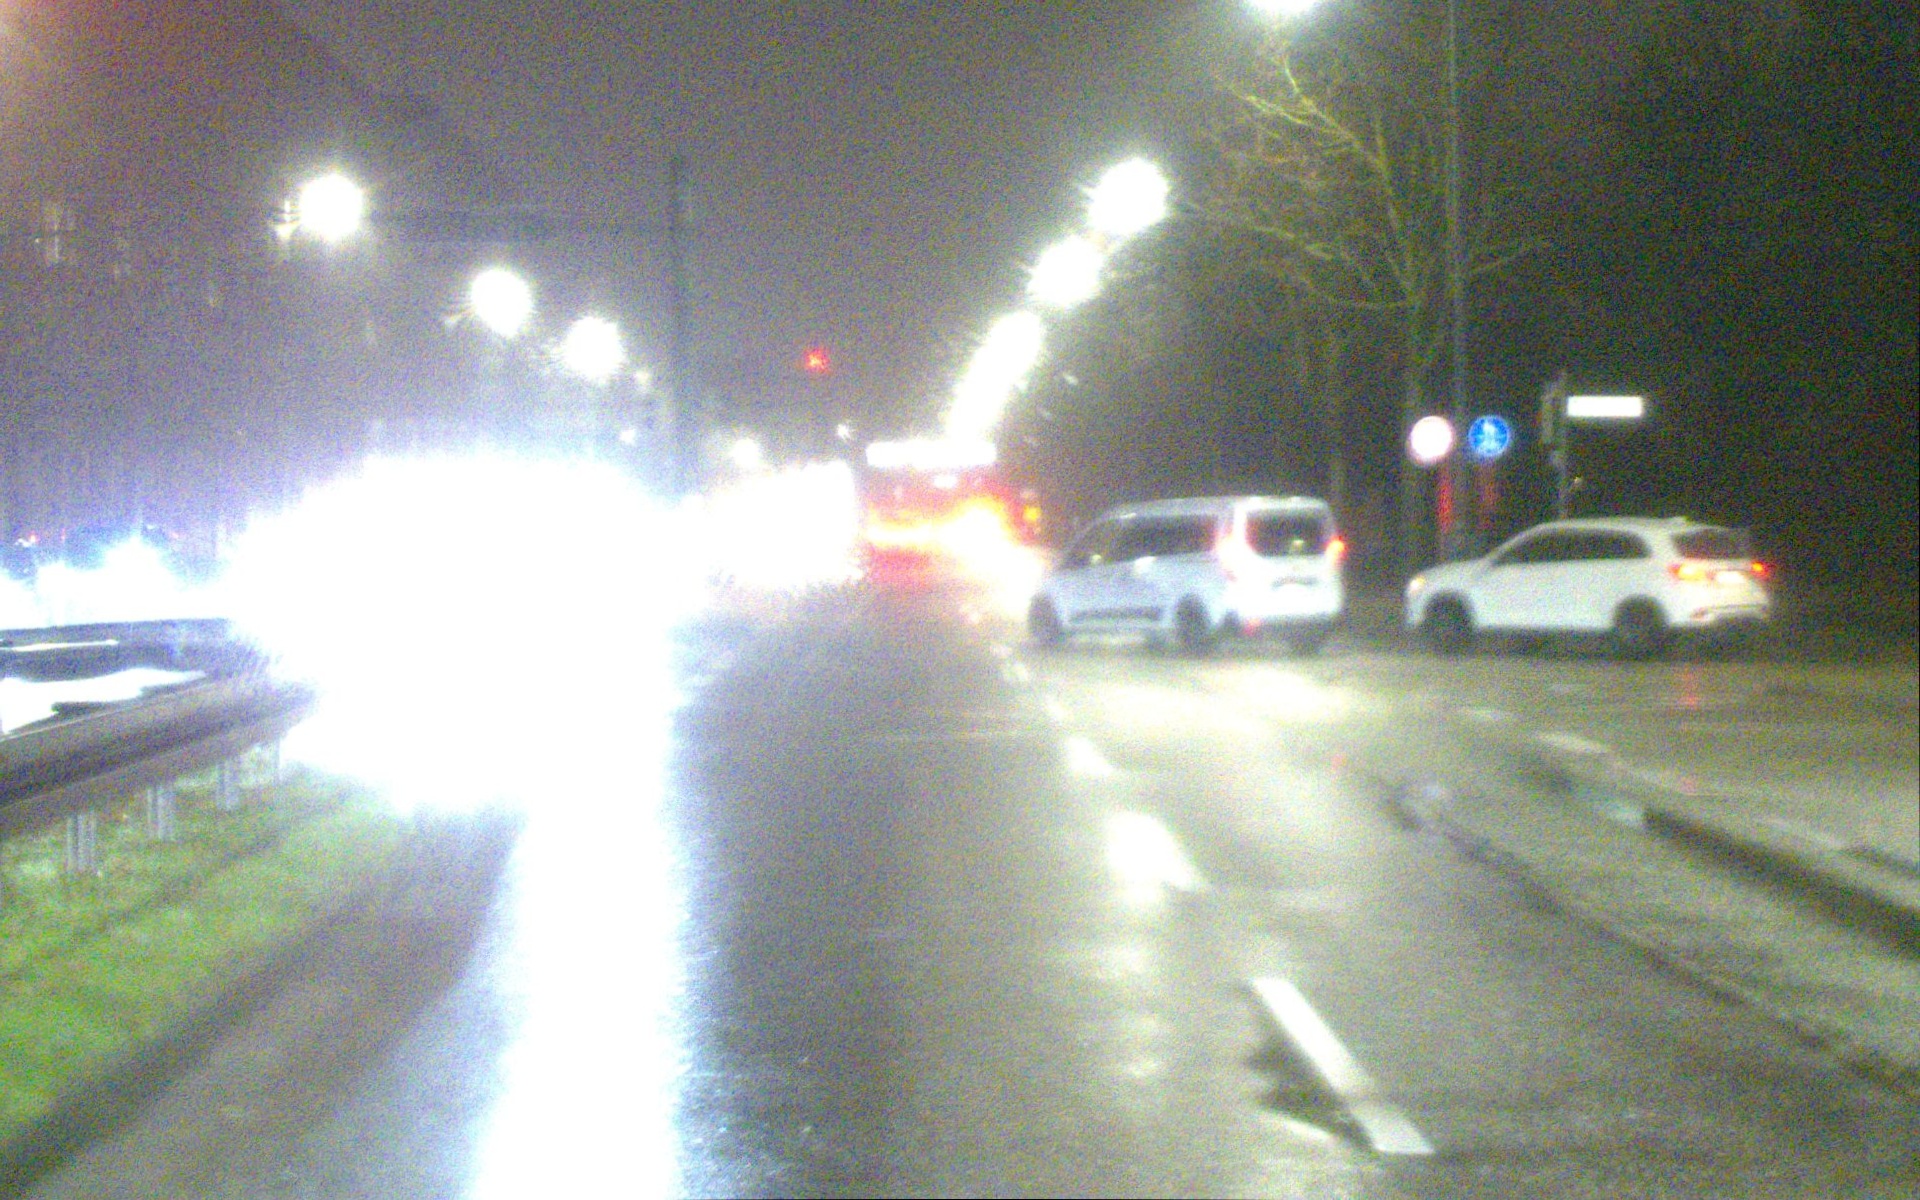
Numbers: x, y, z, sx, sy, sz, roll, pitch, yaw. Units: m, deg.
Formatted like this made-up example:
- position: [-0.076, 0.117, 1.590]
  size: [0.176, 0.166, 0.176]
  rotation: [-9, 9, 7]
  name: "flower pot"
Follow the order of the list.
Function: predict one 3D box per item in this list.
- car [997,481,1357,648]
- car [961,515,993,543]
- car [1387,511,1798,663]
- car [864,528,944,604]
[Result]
- position: [2.509, -0.432, 40.927]
  size: [1.791, 1.868, 4.627]
  rotation: [0, 1, -34]
  name: "car"
- position: [1.083, -4.546, 221.005]
  size: [1.993, 1.753, 4.000]
  rotation: [1, 1, -1]
  name: "car"
- position: [7.328, -0.178, 40.117]
  size: [4.425, 1.673, 1.792]
  rotation: [1, 1, 43]
  name: "car"
- position: [-1.661, -0.994, 100.390]
  size: [2.134, 2.137, 4.929]
  rotation: [1, 1, -3]
  name: "car"
